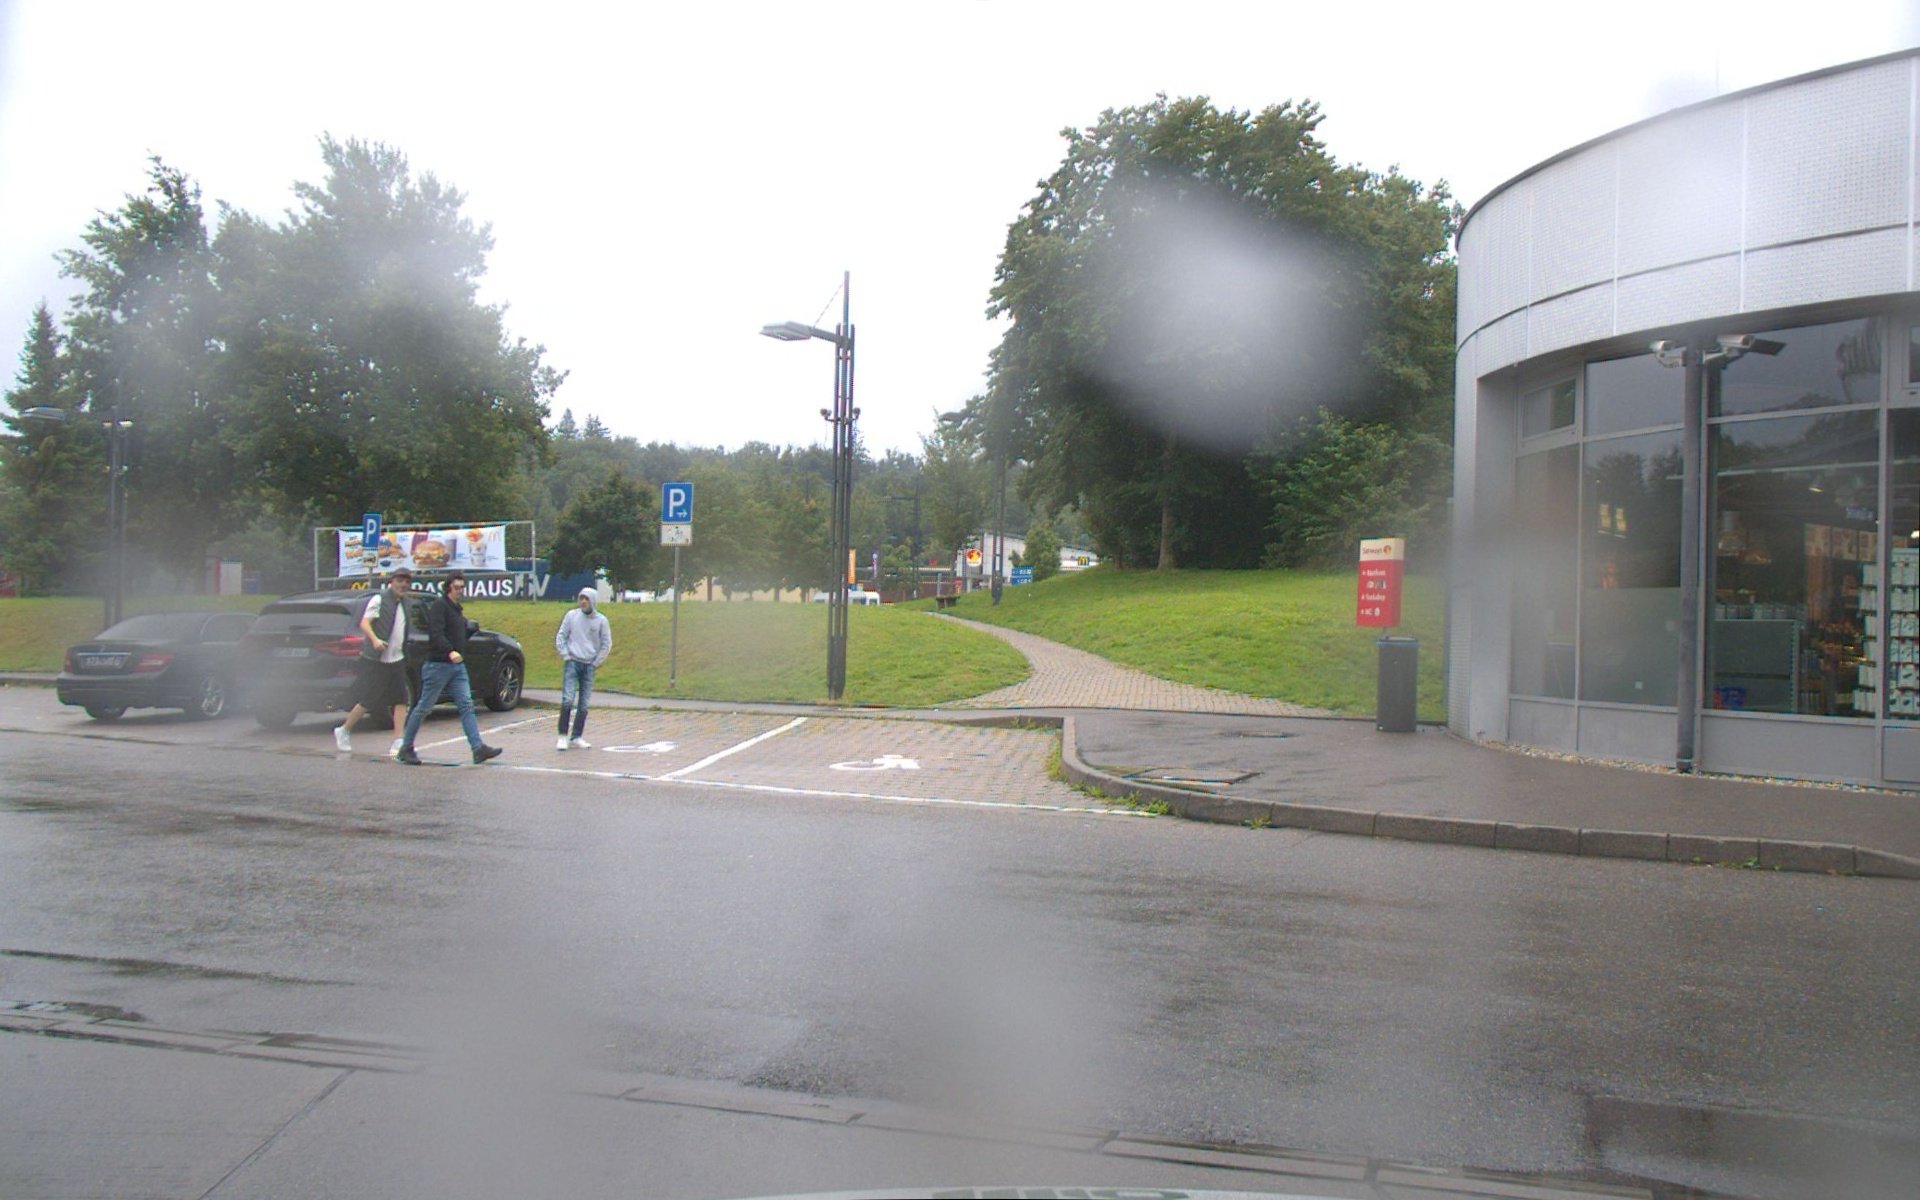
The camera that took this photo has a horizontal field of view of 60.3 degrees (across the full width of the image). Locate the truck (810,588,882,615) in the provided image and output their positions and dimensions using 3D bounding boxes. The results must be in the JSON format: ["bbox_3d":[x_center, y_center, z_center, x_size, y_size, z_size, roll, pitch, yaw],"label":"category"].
[{"bbox_3d":[-9.232,0.139,133.658,5.298,2.049,2.366,1,0,24],"label":"truck"}]

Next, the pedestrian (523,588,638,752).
[{"bbox_3d":[-3.974,0.712,17.344,0.931,1.660,0.704,1,-1,14],"label":"pedestrian"}]

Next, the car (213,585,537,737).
[{"bbox_3d":[-7.365,0.695,21.362,1.973,1.741,4.347,-1,1,11],"label":"car"}]

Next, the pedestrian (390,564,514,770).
[{"bbox_3d":[-4.905,0.630,15.985,0.872,1.920,0.704,1,-1,15],"label":"pedestrian"}]

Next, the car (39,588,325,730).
[{"bbox_3d":[-10.573,0.722,22.880,1.976,1.741,4.342,-1,1,-2],"label":"car"}]

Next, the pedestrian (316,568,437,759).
[{"bbox_3d":[-6.050,0.637,17.155,0.932,1.920,0.703,1,-1,27],"label":"pedestrian"}]

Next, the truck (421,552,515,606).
[{"bbox_3d":[-27.980,-1.165,94.245,2.142,2.971,5.384,1,0,24],"label":"truck"}]

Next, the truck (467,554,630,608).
[{"bbox_3d":[-24.929,-1.083,101.260,2.142,2.971,13.093,1,0,23],"label":"truck"}]
